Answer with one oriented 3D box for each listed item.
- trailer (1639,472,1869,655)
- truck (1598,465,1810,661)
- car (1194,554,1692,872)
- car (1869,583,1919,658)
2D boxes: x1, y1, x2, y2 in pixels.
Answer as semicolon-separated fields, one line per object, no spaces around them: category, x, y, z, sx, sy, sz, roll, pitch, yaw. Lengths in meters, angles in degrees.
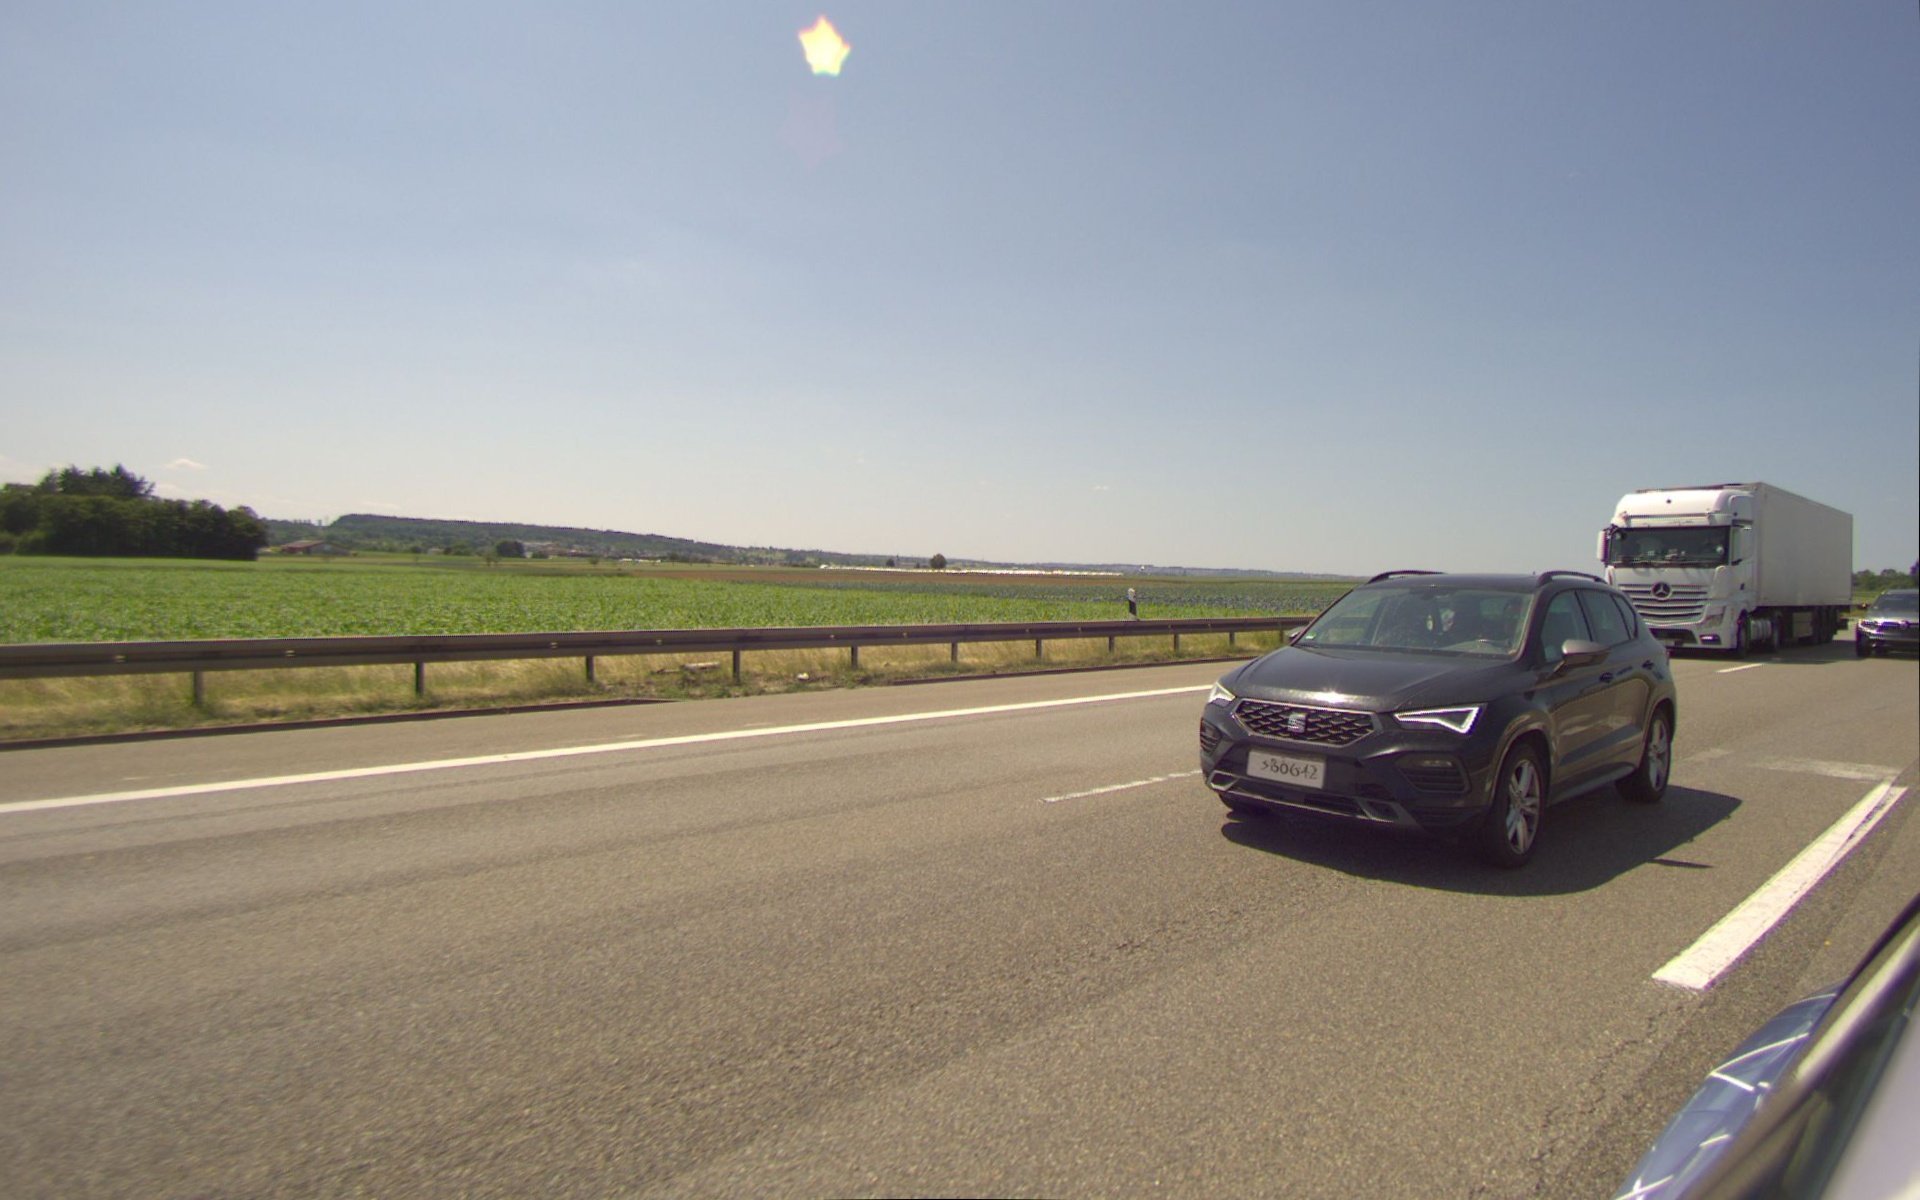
trailer;23.135;-0.917;29.008;13.063;4.273;2.872;-1;0;-41
truck;18.311;-0.823;24.745;6.761;4.143;2.867;0;0;-42
car;3.466;0.541;6.970;3.757;1.581;1.799;0;1;-42
car;23.191;0.479;24.078;4.565;1.669;1.854;1;0;-42
